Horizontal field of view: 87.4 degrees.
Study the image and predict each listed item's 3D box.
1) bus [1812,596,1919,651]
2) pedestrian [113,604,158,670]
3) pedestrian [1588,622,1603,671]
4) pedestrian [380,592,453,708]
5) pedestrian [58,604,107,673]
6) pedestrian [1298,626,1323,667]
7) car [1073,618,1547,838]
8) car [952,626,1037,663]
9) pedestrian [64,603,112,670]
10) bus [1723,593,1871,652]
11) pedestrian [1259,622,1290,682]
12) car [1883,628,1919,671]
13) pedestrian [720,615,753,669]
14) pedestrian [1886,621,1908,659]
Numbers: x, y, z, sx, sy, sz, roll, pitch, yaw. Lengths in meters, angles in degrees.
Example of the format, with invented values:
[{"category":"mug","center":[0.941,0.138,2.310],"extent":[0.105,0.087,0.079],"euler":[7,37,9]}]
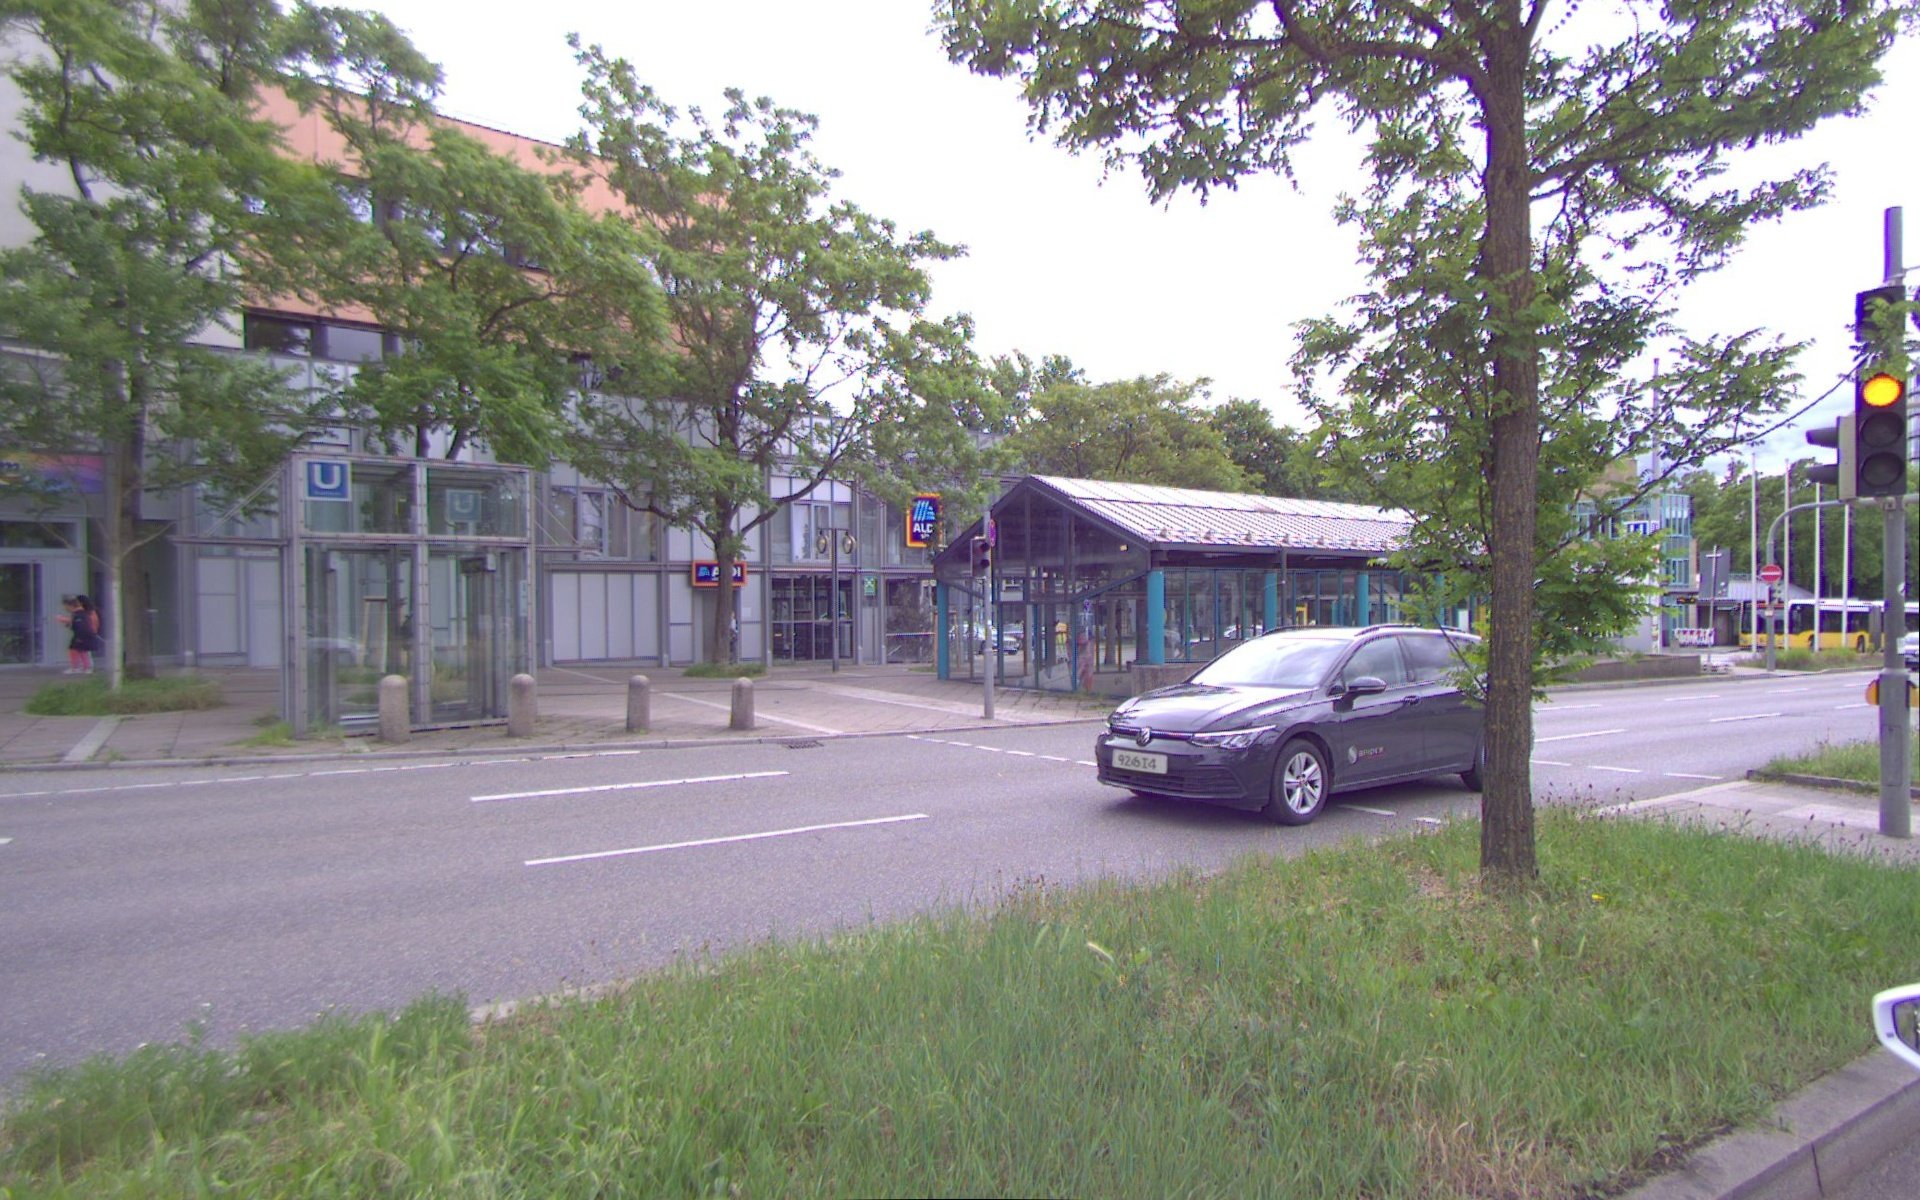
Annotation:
[{"category":"bus","center":[57.931,1.541,63.773],"extent":[7.771,3.313,2.980],"euler":[1,-1,-26]},{"category":"pedestrian","center":[-17.773,0.795,21.659],"extent":[0.689,1.393,0.578],"euler":[1,-1,-37]},{"category":"pedestrian","center":[20.977,1.522,33.148],"extent":[0.412,1.612,0.356],"euler":[0,-1,31]},{"category":"pedestrian","center":[-8.954,0.811,16.562],"extent":[0.530,1.857,0.916],"euler":[0,-1,44]},{"category":"pedestrian","center":[-18.049,0.782,20.679],"extent":[0.689,1.393,0.578],"euler":[1,-1,-37]},{"category":"pedestrian","center":[14.008,1.847,40.104],"extent":[0.654,1.591,0.631],"euler":[2,0,-30]},{"category":"car","center":[3.166,0.931,8.783],"extent":[4.243,1.500,1.699],"euler":[1,-2,-34]},{"category":"car","center":[1.661,2.188,50.385],"extent":[1.769,1.710,4.838],"euler":[1,-1,-33]},{"category":"pedestrian","center":[-18.469,0.772,21.293],"extent":[0.689,1.393,0.578],"euler":[1,-1,-37]},{"category":"bus","center":[49.934,1.379,59.832],"extent":[10.036,3.293,2.980],"euler":[1,-1,-26]},{"category":"pedestrian","center":[9.389,1.544,30.025],"extent":[0.748,1.786,0.526],"euler":[1,-1,-33]},{"category":"car","center":[37.559,1.910,39.172],"extent":[3.316,1.599,1.673],"euler":[1,-1,-36]},{"category":"pedestrian","center":[-6.397,1.195,28.771],"extent":[0.748,1.499,0.525],"euler":[1,-1,-36]},{"category":"pedestrian","center":[48.186,2.040,51.633],"extent":[0.677,1.922,0.658],"euler":[1,-1,-29]}]
